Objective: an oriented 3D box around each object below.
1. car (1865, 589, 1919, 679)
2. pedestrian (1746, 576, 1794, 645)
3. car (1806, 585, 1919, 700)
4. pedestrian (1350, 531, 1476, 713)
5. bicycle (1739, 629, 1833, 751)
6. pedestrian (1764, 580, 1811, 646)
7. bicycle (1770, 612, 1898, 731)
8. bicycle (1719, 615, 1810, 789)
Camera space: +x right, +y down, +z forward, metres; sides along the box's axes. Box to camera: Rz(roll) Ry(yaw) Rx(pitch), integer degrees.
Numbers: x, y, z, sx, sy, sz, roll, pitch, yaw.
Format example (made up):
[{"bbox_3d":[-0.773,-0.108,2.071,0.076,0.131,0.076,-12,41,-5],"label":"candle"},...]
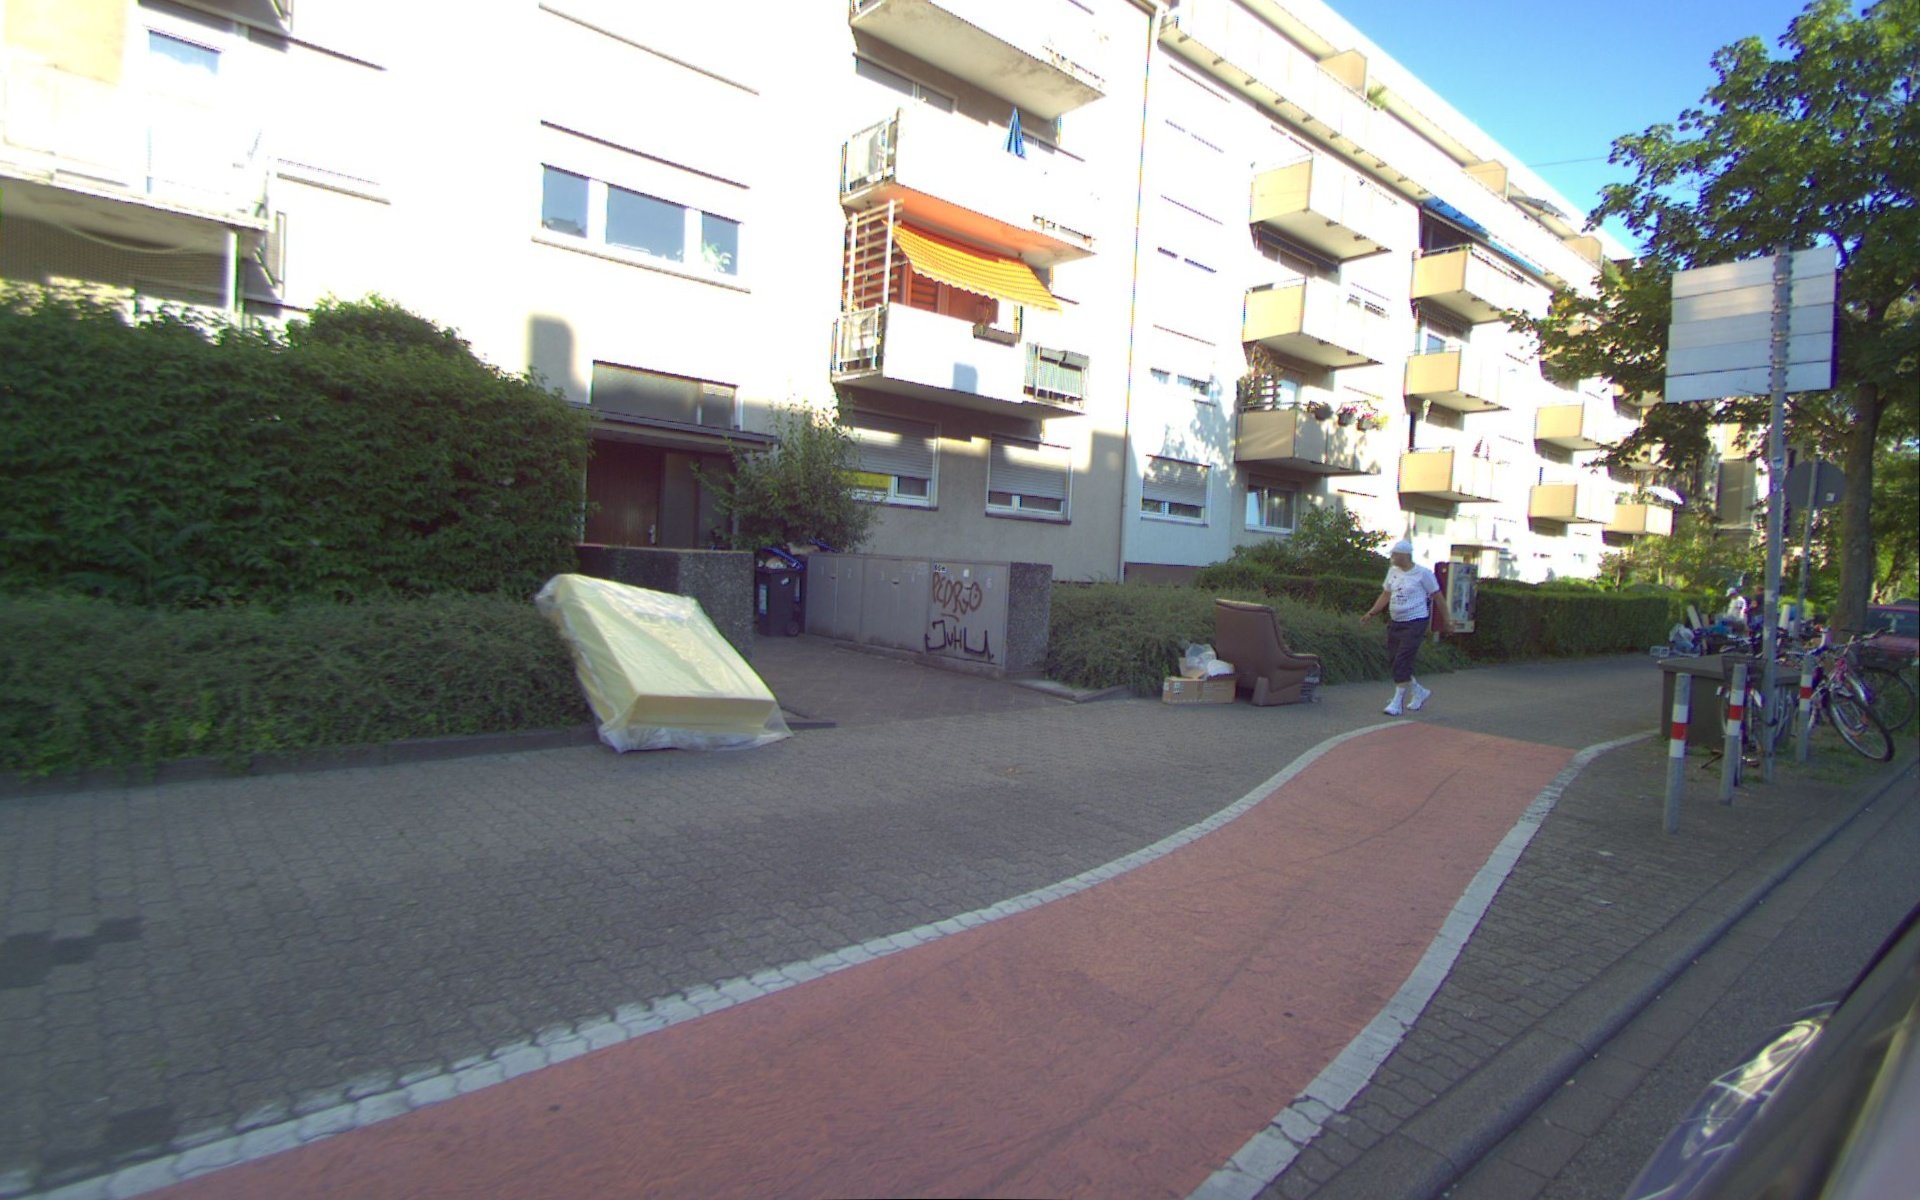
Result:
[{"bbox_3d":[18.275,0.637,18.636,3.741,1.536,1.745,1,3,-39],"label":"car"},{"bbox_3d":[20.843,0.276,26.042,0.815,1.703,0.661,1,3,-36],"label":"pedestrian"},{"bbox_3d":[14.638,0.624,15.559,3.741,1.536,1.745,1,3,-39],"label":"car"},{"bbox_3d":[4.508,0.191,10.089,0.648,1.703,0.831,1,3,-37],"label":"pedestrian"},{"bbox_3d":[7.401,0.778,9.051,1.169,0.999,0.325,1,3,-37],"label":"bicycle"},{"bbox_3d":[22.100,0.350,27.026,0.815,1.703,0.661,1,3,-36],"label":"pedestrian"},{"bbox_3d":[9.131,0.725,10.553,1.764,1.159,0.326,1,2,-28],"label":"bicycle"},{"bbox_3d":[6.181,0.719,7.746,0.324,1.159,1.772,5,3,44],"label":"bicycle"}]
